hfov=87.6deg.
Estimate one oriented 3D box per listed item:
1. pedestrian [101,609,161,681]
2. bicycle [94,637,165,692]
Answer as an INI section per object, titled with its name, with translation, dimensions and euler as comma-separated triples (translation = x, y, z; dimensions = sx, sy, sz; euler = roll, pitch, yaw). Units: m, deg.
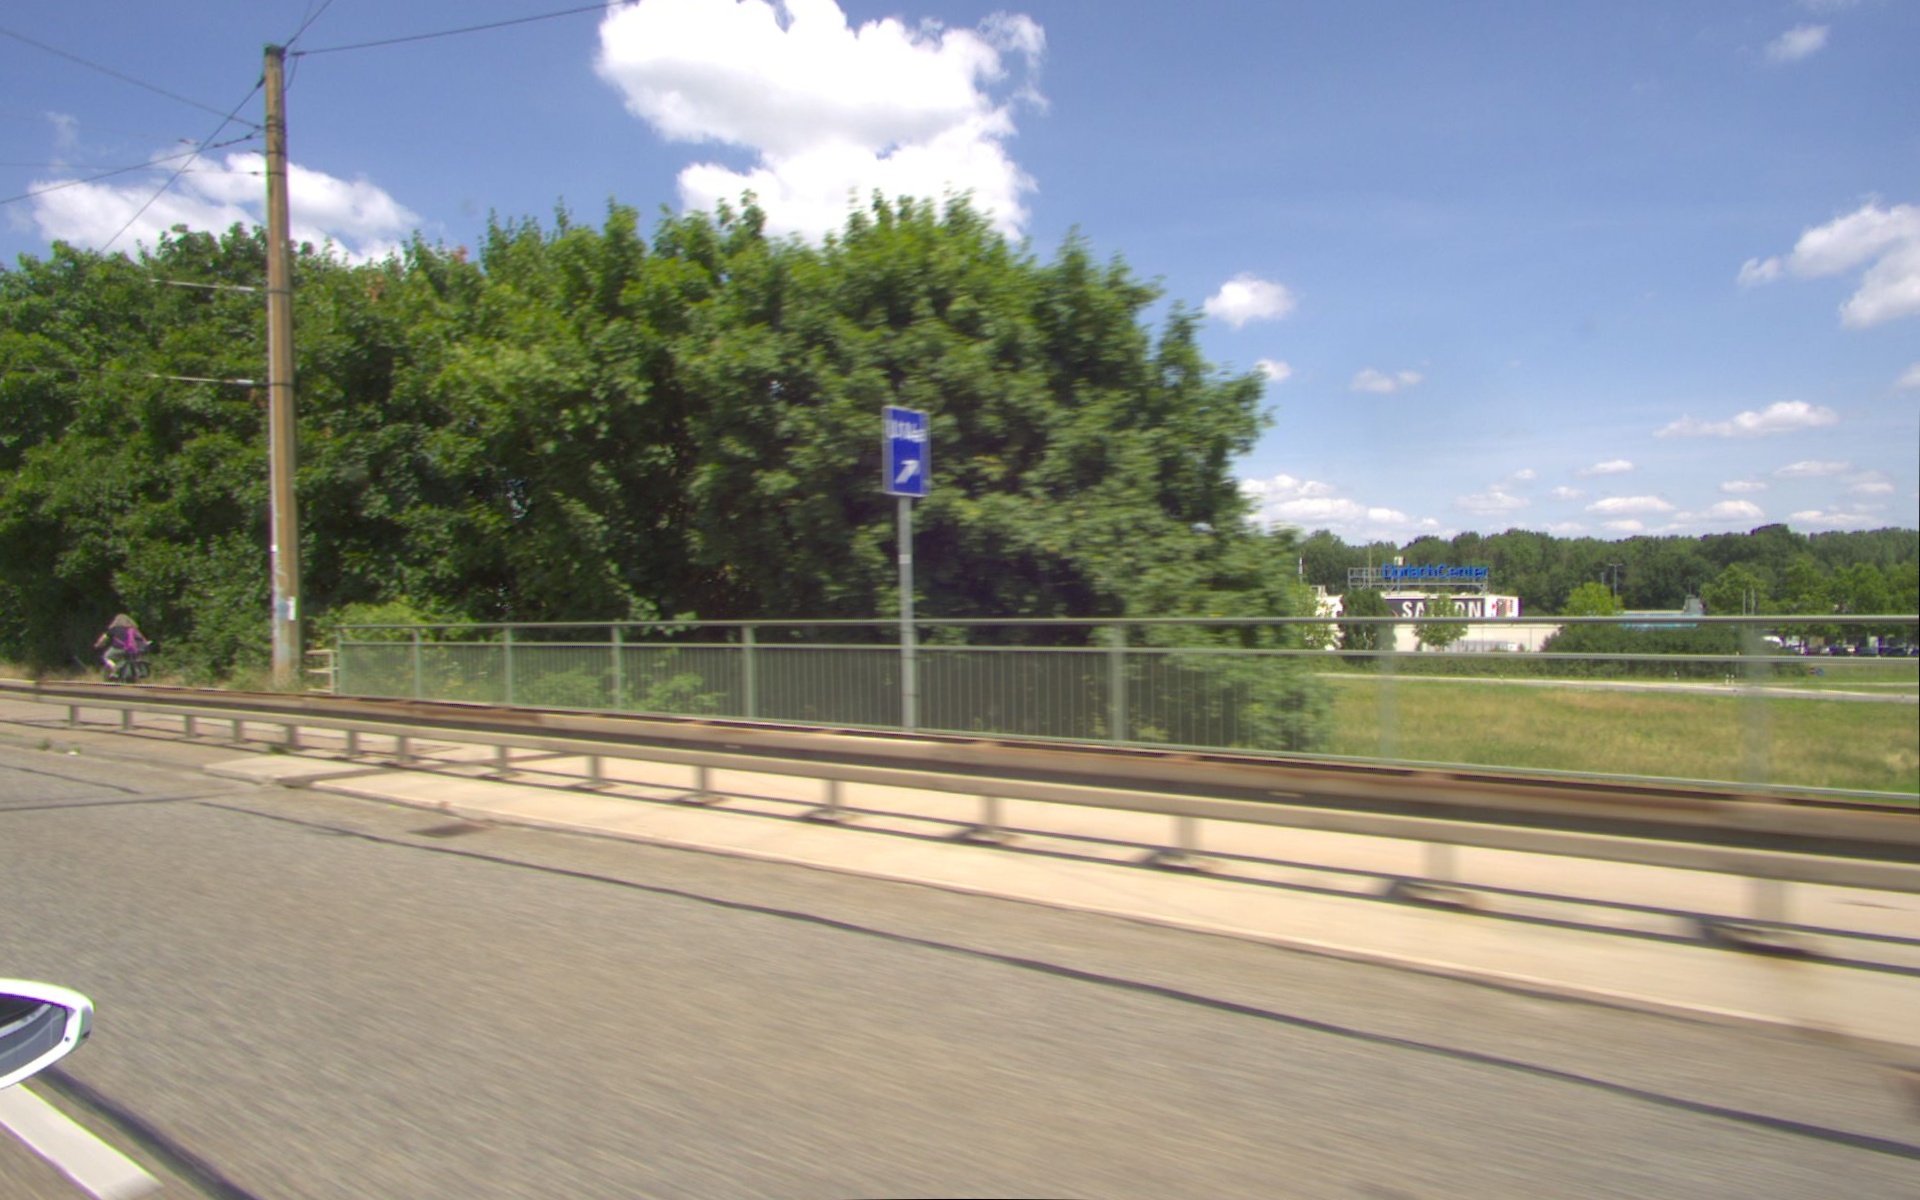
[pedestrian]
translation = -16.531, 0.874, 19.970
dimensions = 1.035, 1.392, 0.626
euler = -1, 1, 32
[bicycle]
translation = -16.626, 1.274, 20.037
dimensions = 1.822, 1.038, 0.558
euler = -1, 0, 33
